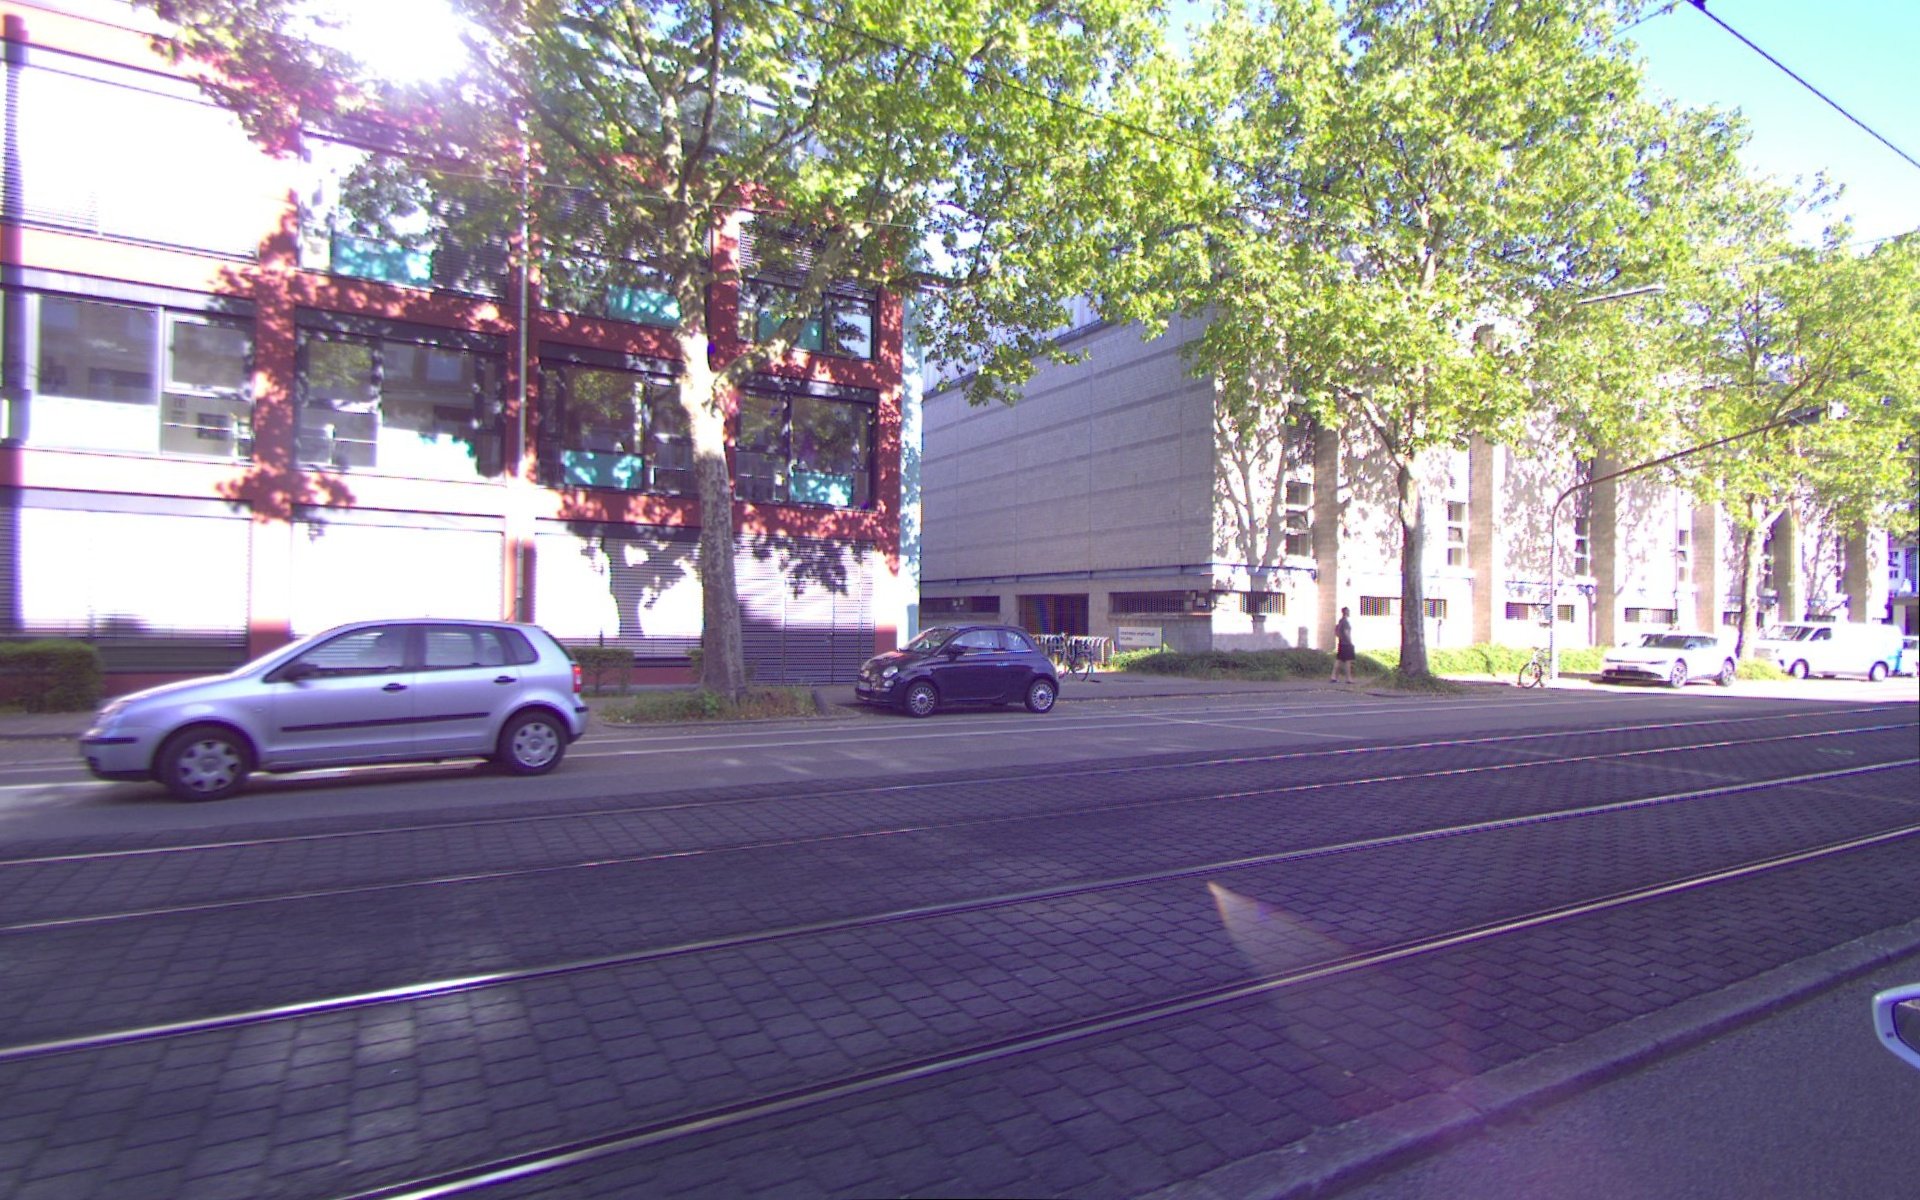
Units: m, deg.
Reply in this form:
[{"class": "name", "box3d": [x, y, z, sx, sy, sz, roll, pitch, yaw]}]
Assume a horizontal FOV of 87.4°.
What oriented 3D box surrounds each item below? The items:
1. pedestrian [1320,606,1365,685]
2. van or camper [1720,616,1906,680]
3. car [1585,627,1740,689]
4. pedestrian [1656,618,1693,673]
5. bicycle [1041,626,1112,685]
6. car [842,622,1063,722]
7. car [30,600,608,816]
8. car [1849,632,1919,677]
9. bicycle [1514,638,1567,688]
[{"class": "pedestrian", "box3d": [9.476, 1.106, 24.882, 0.664, 1.895, 0.779, 1, 1, -36]}, {"class": "van or camper", "box3d": [29.105, 1.616, 34.341, 5.096, 1.976, 2.063, 1, 1, -10]}, {"class": "car", "box3d": [20.342, 1.614, 29.055, 4.641, 1.594, 2.001, 1, 1, -32]}, {"class": "pedestrian", "box3d": [24.620, 1.566, 34.623, 0.662, 1.845, 0.793, 1, 1, -30]}, {"class": "bicycle", "box3d": [2.799, 1.309, 24.327, 0.656, 1.295, 1.999, 1, 1, -29]}, {"class": "car", "box3d": [-0.113, 1.154, 16.934, 3.421, 1.473, 1.500, 1, 1, -29]}, {"class": "car", "box3d": [-5.489, 0.863, 9.085, 4.031, 1.538, 1.741, 2, -3, -36]}, {"class": "car", "box3d": [35.486, 2.034, 38.022, 4.042, 1.527, 1.566, 1, 1, -31]}, {"class": "bicycle", "box3d": [15.391, 1.651, 26.607, 1.638, 1.225, 0.577, 1, 1, -37]}]
